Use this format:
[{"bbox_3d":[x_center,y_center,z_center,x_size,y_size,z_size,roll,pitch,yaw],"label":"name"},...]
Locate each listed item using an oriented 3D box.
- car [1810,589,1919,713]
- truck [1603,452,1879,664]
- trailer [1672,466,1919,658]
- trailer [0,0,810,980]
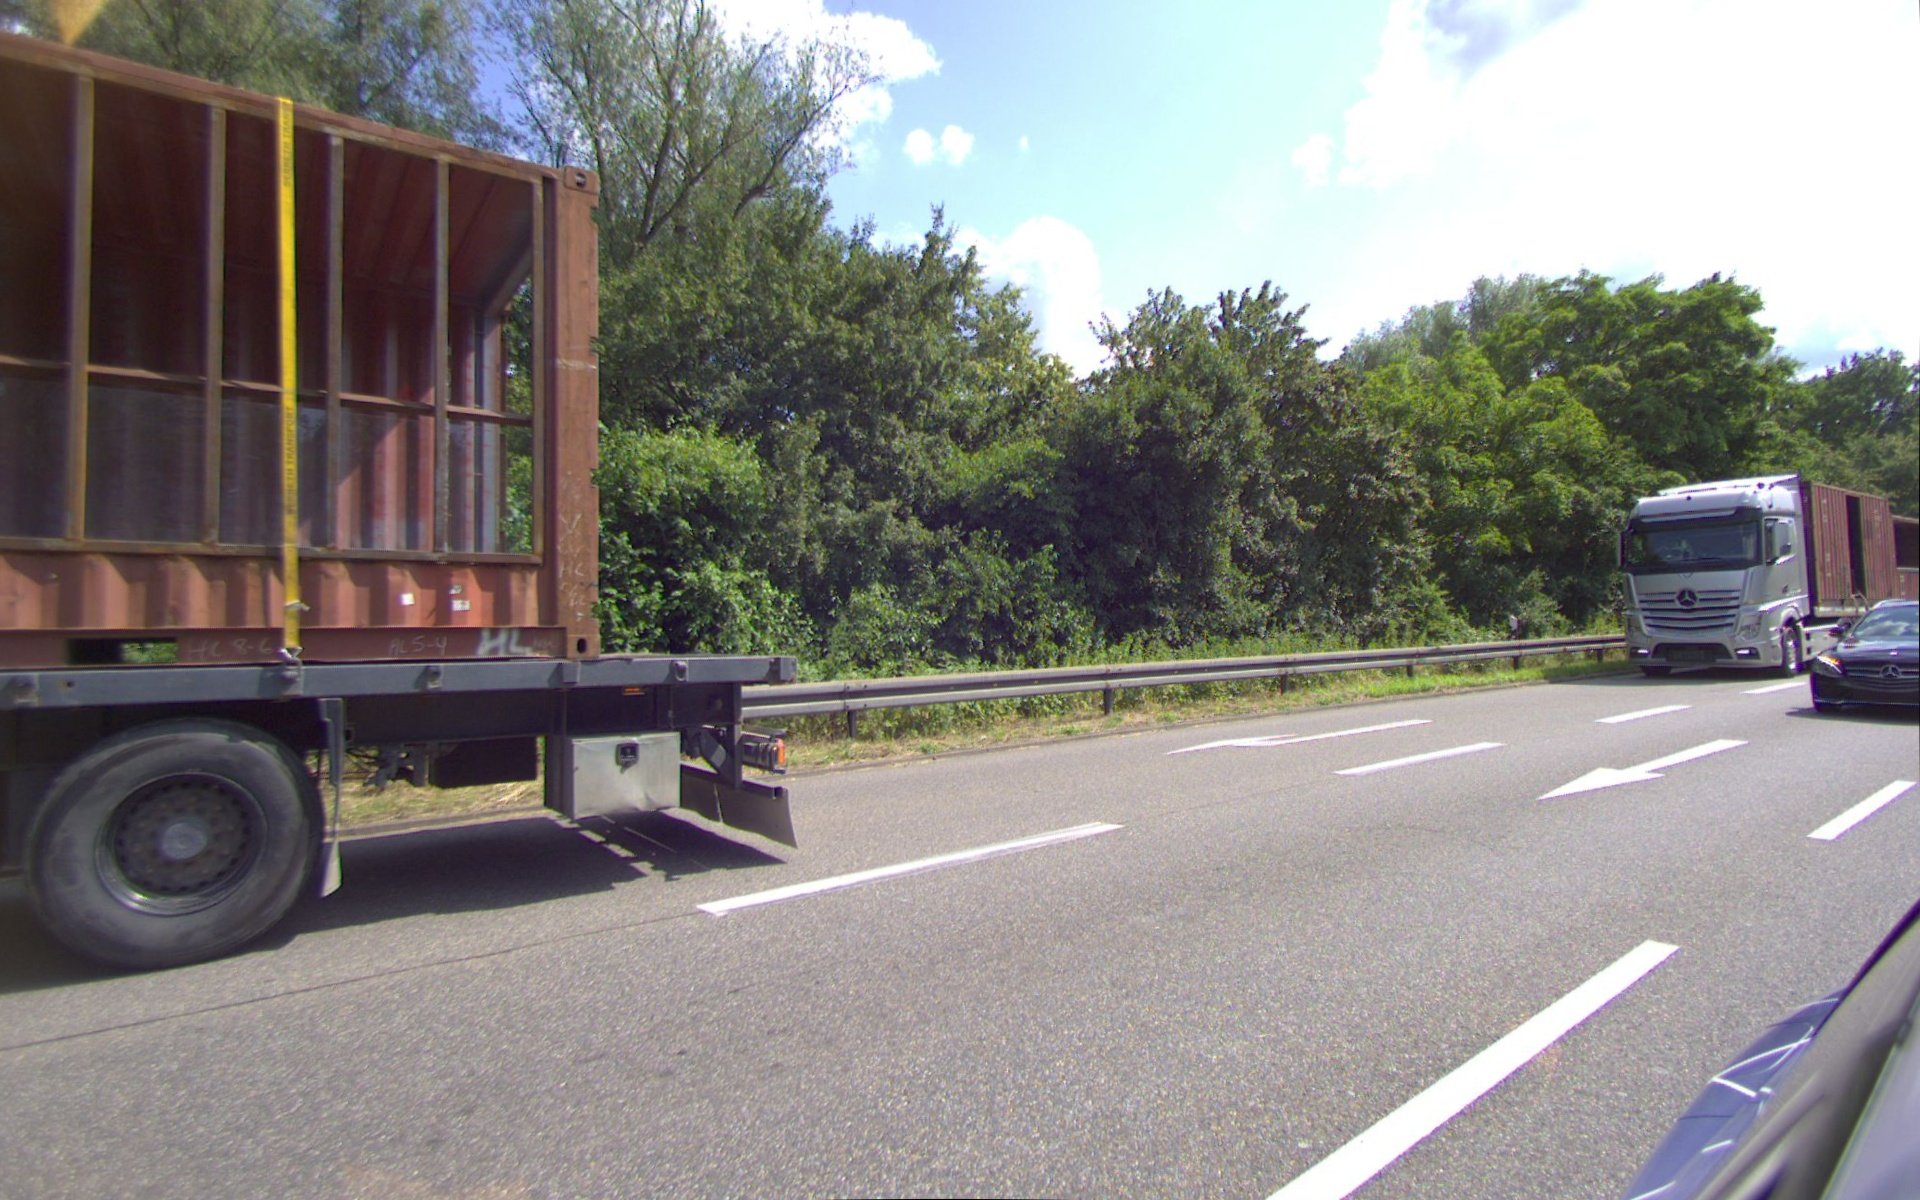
[{"bbox_3d":[12.996,0.594,13.297,4.287,1.454,1.796,0,-1,-36],"label":"car"},{"bbox_3d":[16.819,-0.722,21.654,6.691,3.895,2.777,0,-2,-36],"label":"truck"},{"bbox_3d":[21.811,-0.754,25.175,12.087,3.900,2.779,0,-2,-36],"label":"trailer"},{"bbox_3d":[-7.204,-0.422,3.073,13.587,3.942,2.646,-1,-3,-36],"label":"trailer"}]
